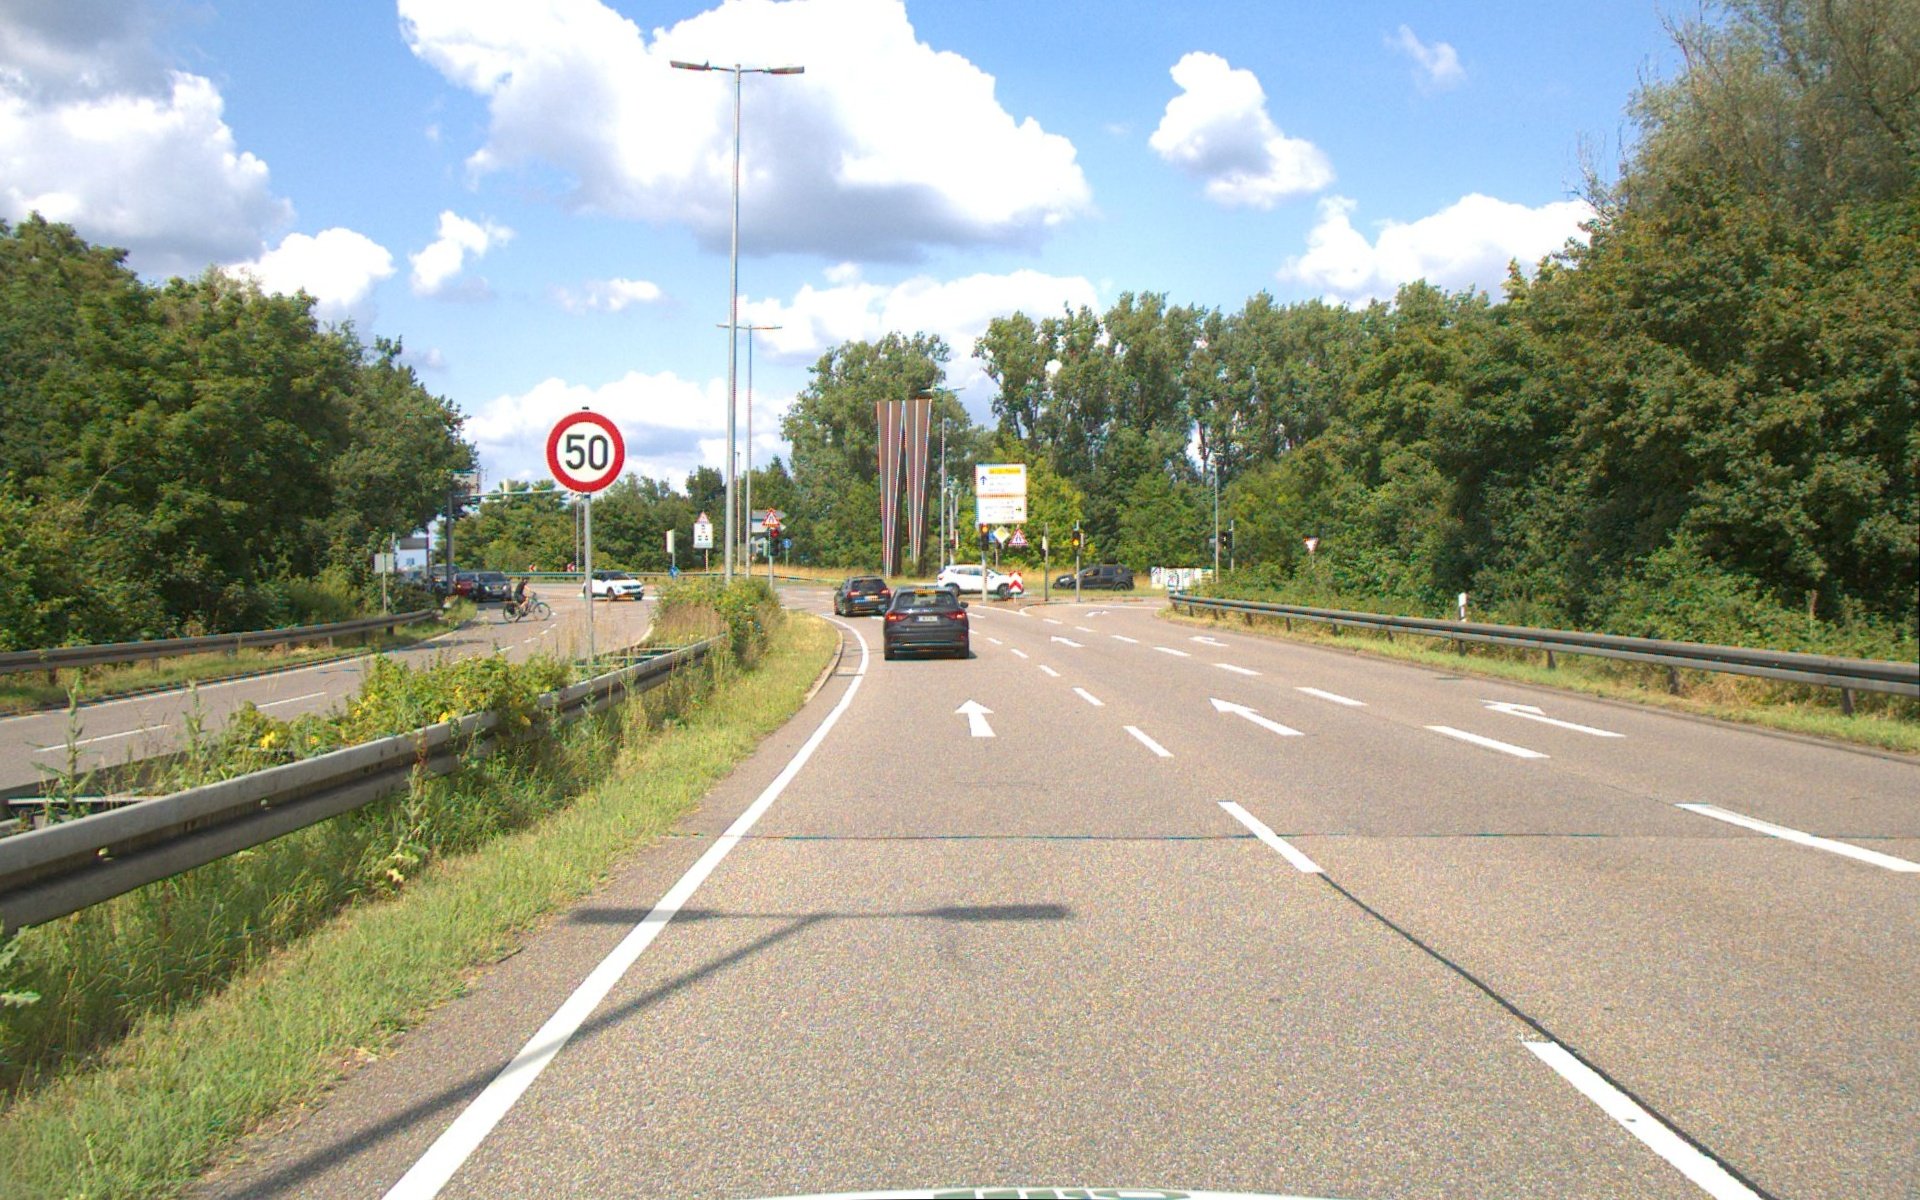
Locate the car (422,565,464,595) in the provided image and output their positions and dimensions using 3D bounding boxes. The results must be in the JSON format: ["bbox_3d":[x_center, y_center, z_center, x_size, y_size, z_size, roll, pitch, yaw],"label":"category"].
[{"bbox_3d":[-32.604,-1.278,104.316,1.821,1.833,4.289,-2,1,-27],"label":"car"}]

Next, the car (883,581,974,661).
[{"bbox_3d":[-0.701,0.378,33.851,1.692,1.428,3.998,-1,2,-3],"label":"car"}]

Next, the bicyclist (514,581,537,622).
[{"bbox_3d":[-17.218,0.046,65.573,0.821,1.587,0.668,-1,1,-20],"label":"bicyclist"}]

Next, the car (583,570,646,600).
[{"bbox_3d":[-18.168,-0.822,86.764,1.718,1.502,3.994,0,1,-37],"label":"car"}]

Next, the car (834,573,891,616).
[{"bbox_3d":[-3.745,-0.234,63.117,1.695,1.448,3.835,-3,2,-10],"label":"car"}]

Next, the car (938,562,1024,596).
[{"bbox_3d":[1.044,-0.995,79.863,3.939,1.535,1.958,1,0,6],"label":"car"}]

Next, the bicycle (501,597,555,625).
[{"bbox_3d":[-17.141,0.440,65.602,2.022,1.041,0.668,-1,1,-20],"label":"bicycle"}]

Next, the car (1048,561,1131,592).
[{"bbox_3d":[6.974,-1.277,89.079,4.187,1.572,1.734,-1,1,-7],"label":"car"}]

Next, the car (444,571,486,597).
[{"bbox_3d":[-29.430,-0.952,98.332,1.711,1.502,4.011,-2,1,-27],"label":"car"}]

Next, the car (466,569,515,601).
[{"bbox_3d":[-25.894,-0.805,91.147,1.817,1.646,3.965,-2,0,-27],"label":"car"}]
